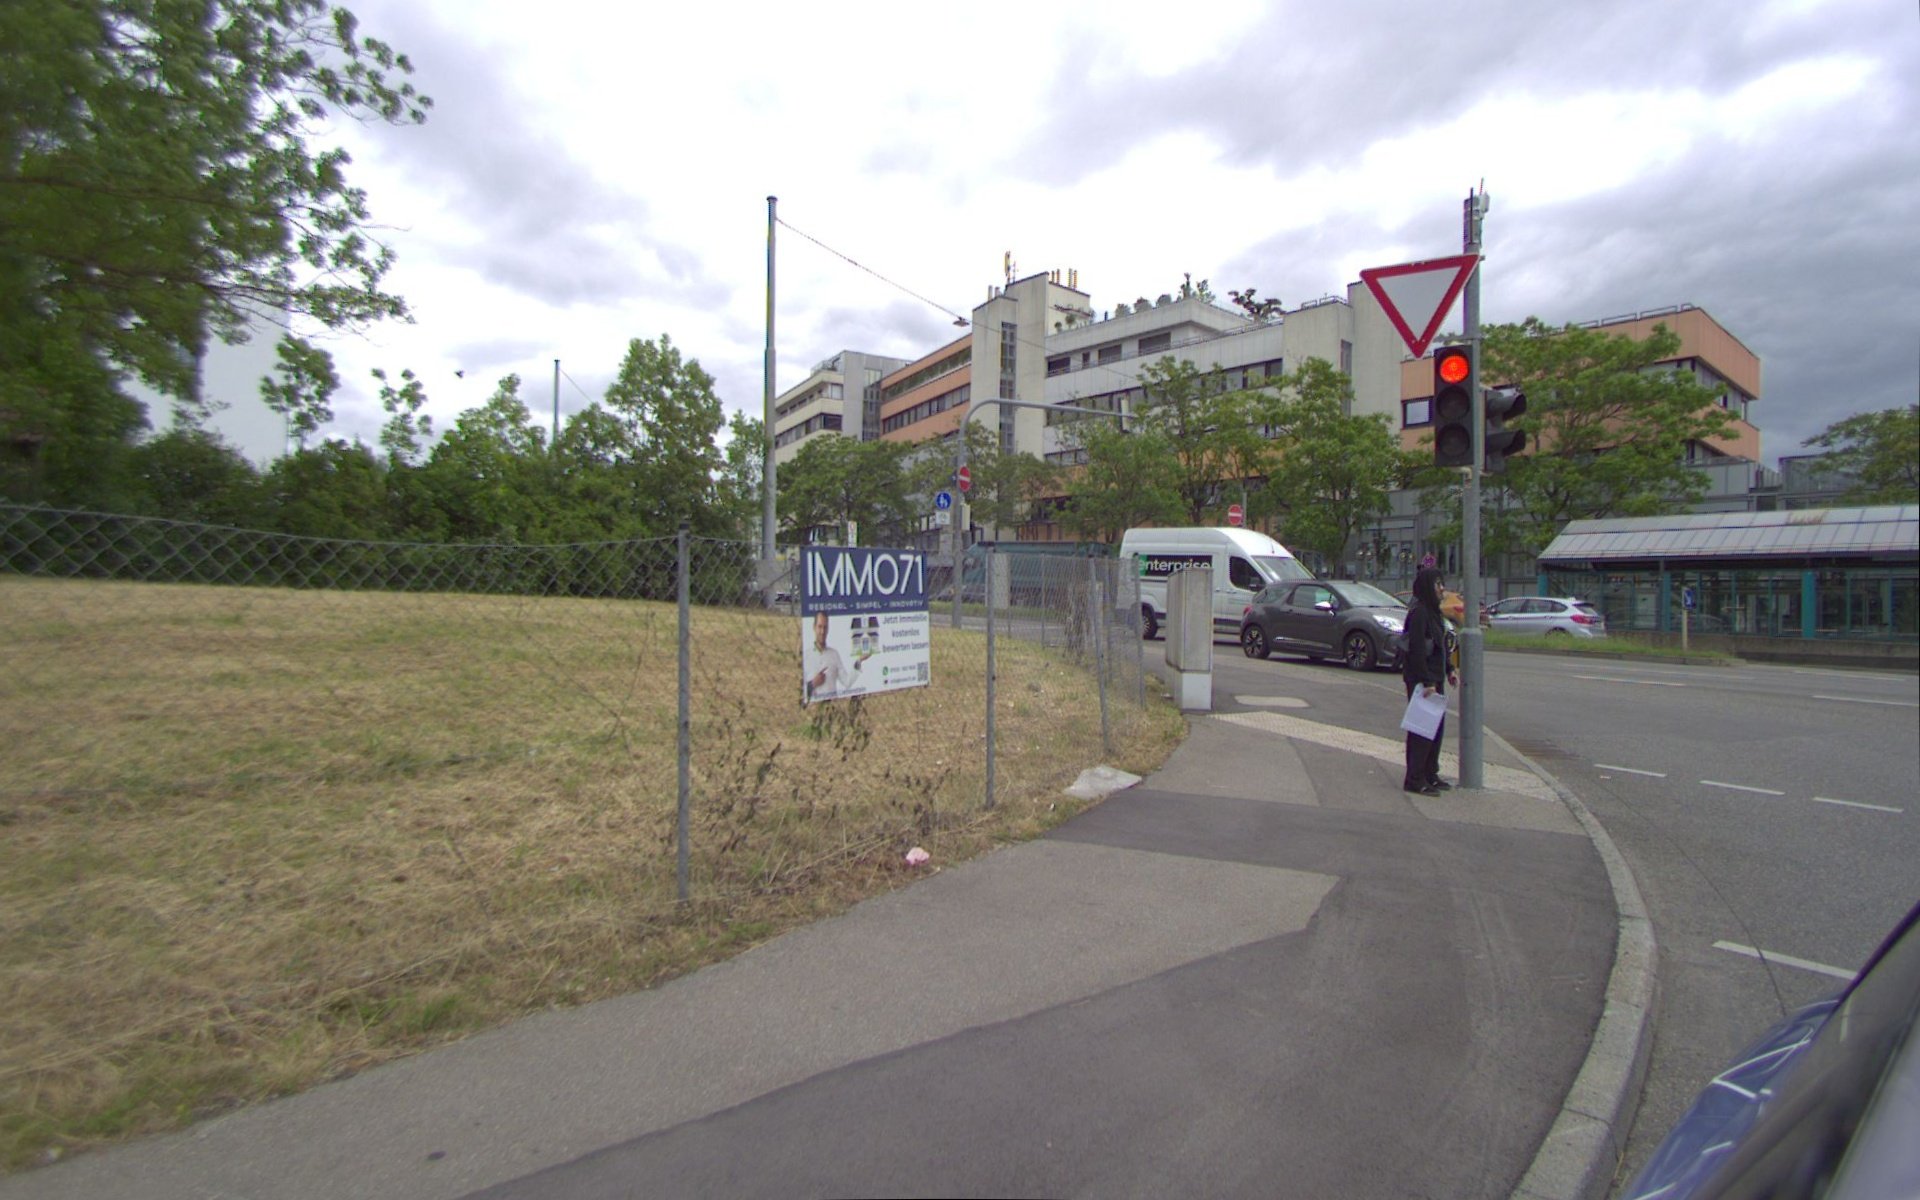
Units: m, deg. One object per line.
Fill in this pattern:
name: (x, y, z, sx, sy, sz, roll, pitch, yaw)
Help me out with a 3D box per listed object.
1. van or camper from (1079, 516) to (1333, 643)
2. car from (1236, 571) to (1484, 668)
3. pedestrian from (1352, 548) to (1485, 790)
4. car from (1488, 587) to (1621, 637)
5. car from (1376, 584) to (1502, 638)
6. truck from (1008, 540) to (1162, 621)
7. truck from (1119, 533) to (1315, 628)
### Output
van or camper: (5.779, -0.564, 24.706, 2.215, 2.706, 5.940, 1, 2, -36)
car: (6.584, 0.243, 17.084, 1.613, 1.415, 3.789, 1, 2, -25)
pedestrian: (3.261, 0.454, 7.204, 0.660, 1.610, 0.553, 0, 3, -38)
car: (17.043, 0.313, 29.093, 1.270, 1.237, 2.998, 0, 3, -36)
car: (13.588, 0.282, 28.804, 1.188, 1.328, 2.998, 0, 3, -36)
truck: (5.893, -0.949, 49.139, 2.671, 3.627, 7.942, 0, 1, -38)
truck: (10.658, -0.825, 42.918, 2.671, 3.627, 8.175, 0, 1, -38)
